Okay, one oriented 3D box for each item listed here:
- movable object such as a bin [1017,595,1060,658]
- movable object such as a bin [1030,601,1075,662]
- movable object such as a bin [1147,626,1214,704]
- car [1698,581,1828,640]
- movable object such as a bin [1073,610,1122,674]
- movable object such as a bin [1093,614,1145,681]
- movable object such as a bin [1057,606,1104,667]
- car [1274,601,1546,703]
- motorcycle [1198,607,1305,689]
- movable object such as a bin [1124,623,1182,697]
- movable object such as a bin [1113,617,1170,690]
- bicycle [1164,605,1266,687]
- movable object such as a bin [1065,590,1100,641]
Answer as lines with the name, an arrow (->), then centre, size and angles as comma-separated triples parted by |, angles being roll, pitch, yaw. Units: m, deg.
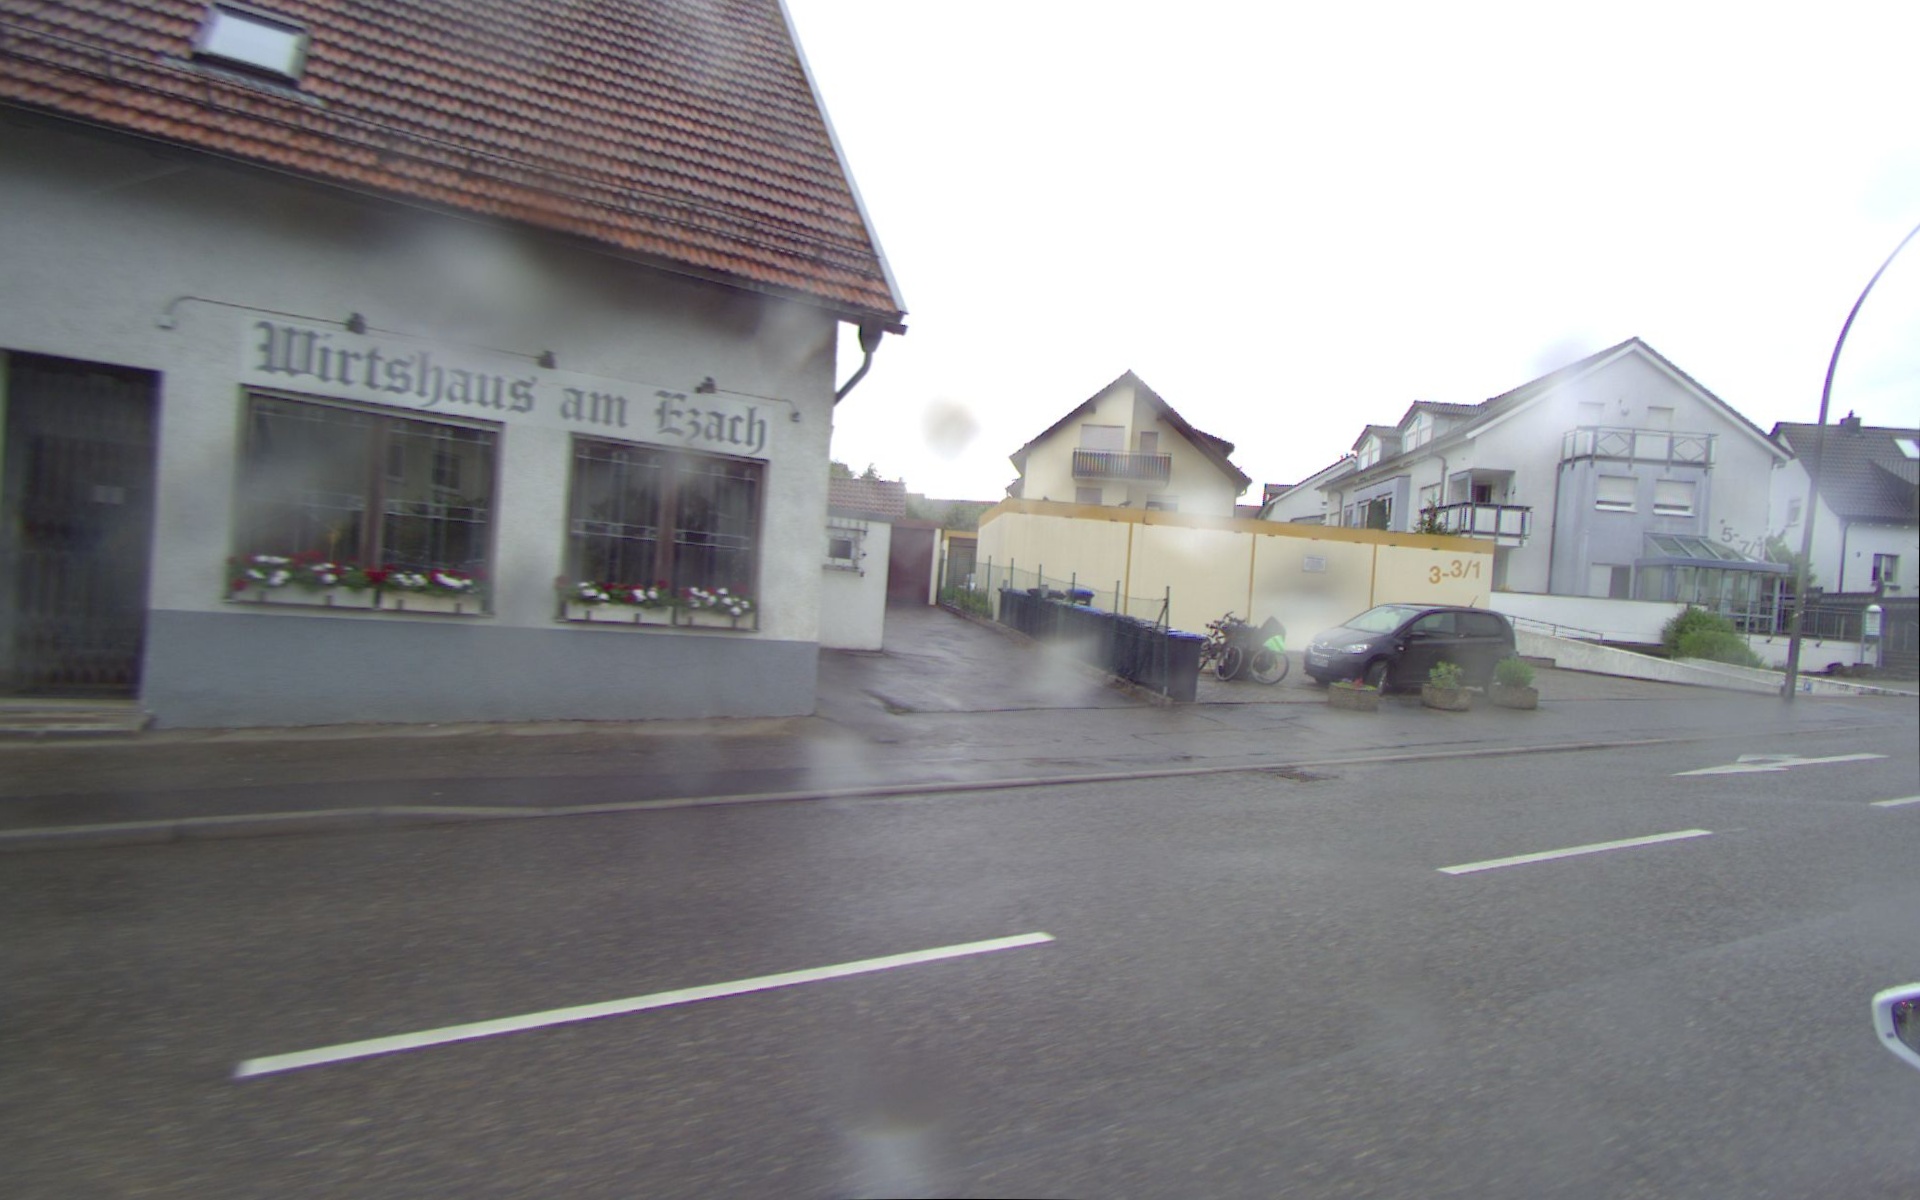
movable object such as a bin -> 1.520, 0.517, 19.494 | 0.595, 1.146, 0.638 | 2, 4, -16
movable object such as a bin -> 1.718, 0.577, 18.741 | 0.595, 1.046, 0.638 | 2, 6, -16
movable object such as a bin -> 3.067, 0.899, 14.005 | 0.662, 1.046, 0.638 | 2, -1, -16
car -> 31.876, 0.356, 40.056 | 1.960, 1.806, 4.000 | 4, 6, 4
movable object such as a bin -> 2.308, 0.702, 16.916 | 0.595, 1.046, 0.638 | 2, -1, -16
movable object such as a bin -> 2.566, 0.764, 16.224 | 0.595, 1.046, 0.638 | 2, -1, -16
movable object such as a bin -> 2.113, 0.631, 17.624 | 0.595, 1.046, 0.638 | 2, -1, -16
car -> 7.558, 0.857, 17.049 | 3.761, 1.461, 1.903 | 2, 2, -11
motorcycle -> 4.977, 0.793, 17.317 | 0.767, 1.129, 2.111 | 4, 4, -13
movable object such as a bin -> 2.818, 0.865, 14.705 | 0.595, 1.046, 0.638 | 2, -1, -16
movable object such as a bin -> 2.812, 0.823, 15.565 | 0.595, 1.046, 0.638 | 2, 4, -16
bicycle -> 4.298, 0.750, 17.142 | 0.725, 1.128, 2.098 | 4, 3, -13
movable object such as a bin -> 2.760, 0.349, 22.618 | 0.612, 1.093, 0.671 | 2, -1, -7
